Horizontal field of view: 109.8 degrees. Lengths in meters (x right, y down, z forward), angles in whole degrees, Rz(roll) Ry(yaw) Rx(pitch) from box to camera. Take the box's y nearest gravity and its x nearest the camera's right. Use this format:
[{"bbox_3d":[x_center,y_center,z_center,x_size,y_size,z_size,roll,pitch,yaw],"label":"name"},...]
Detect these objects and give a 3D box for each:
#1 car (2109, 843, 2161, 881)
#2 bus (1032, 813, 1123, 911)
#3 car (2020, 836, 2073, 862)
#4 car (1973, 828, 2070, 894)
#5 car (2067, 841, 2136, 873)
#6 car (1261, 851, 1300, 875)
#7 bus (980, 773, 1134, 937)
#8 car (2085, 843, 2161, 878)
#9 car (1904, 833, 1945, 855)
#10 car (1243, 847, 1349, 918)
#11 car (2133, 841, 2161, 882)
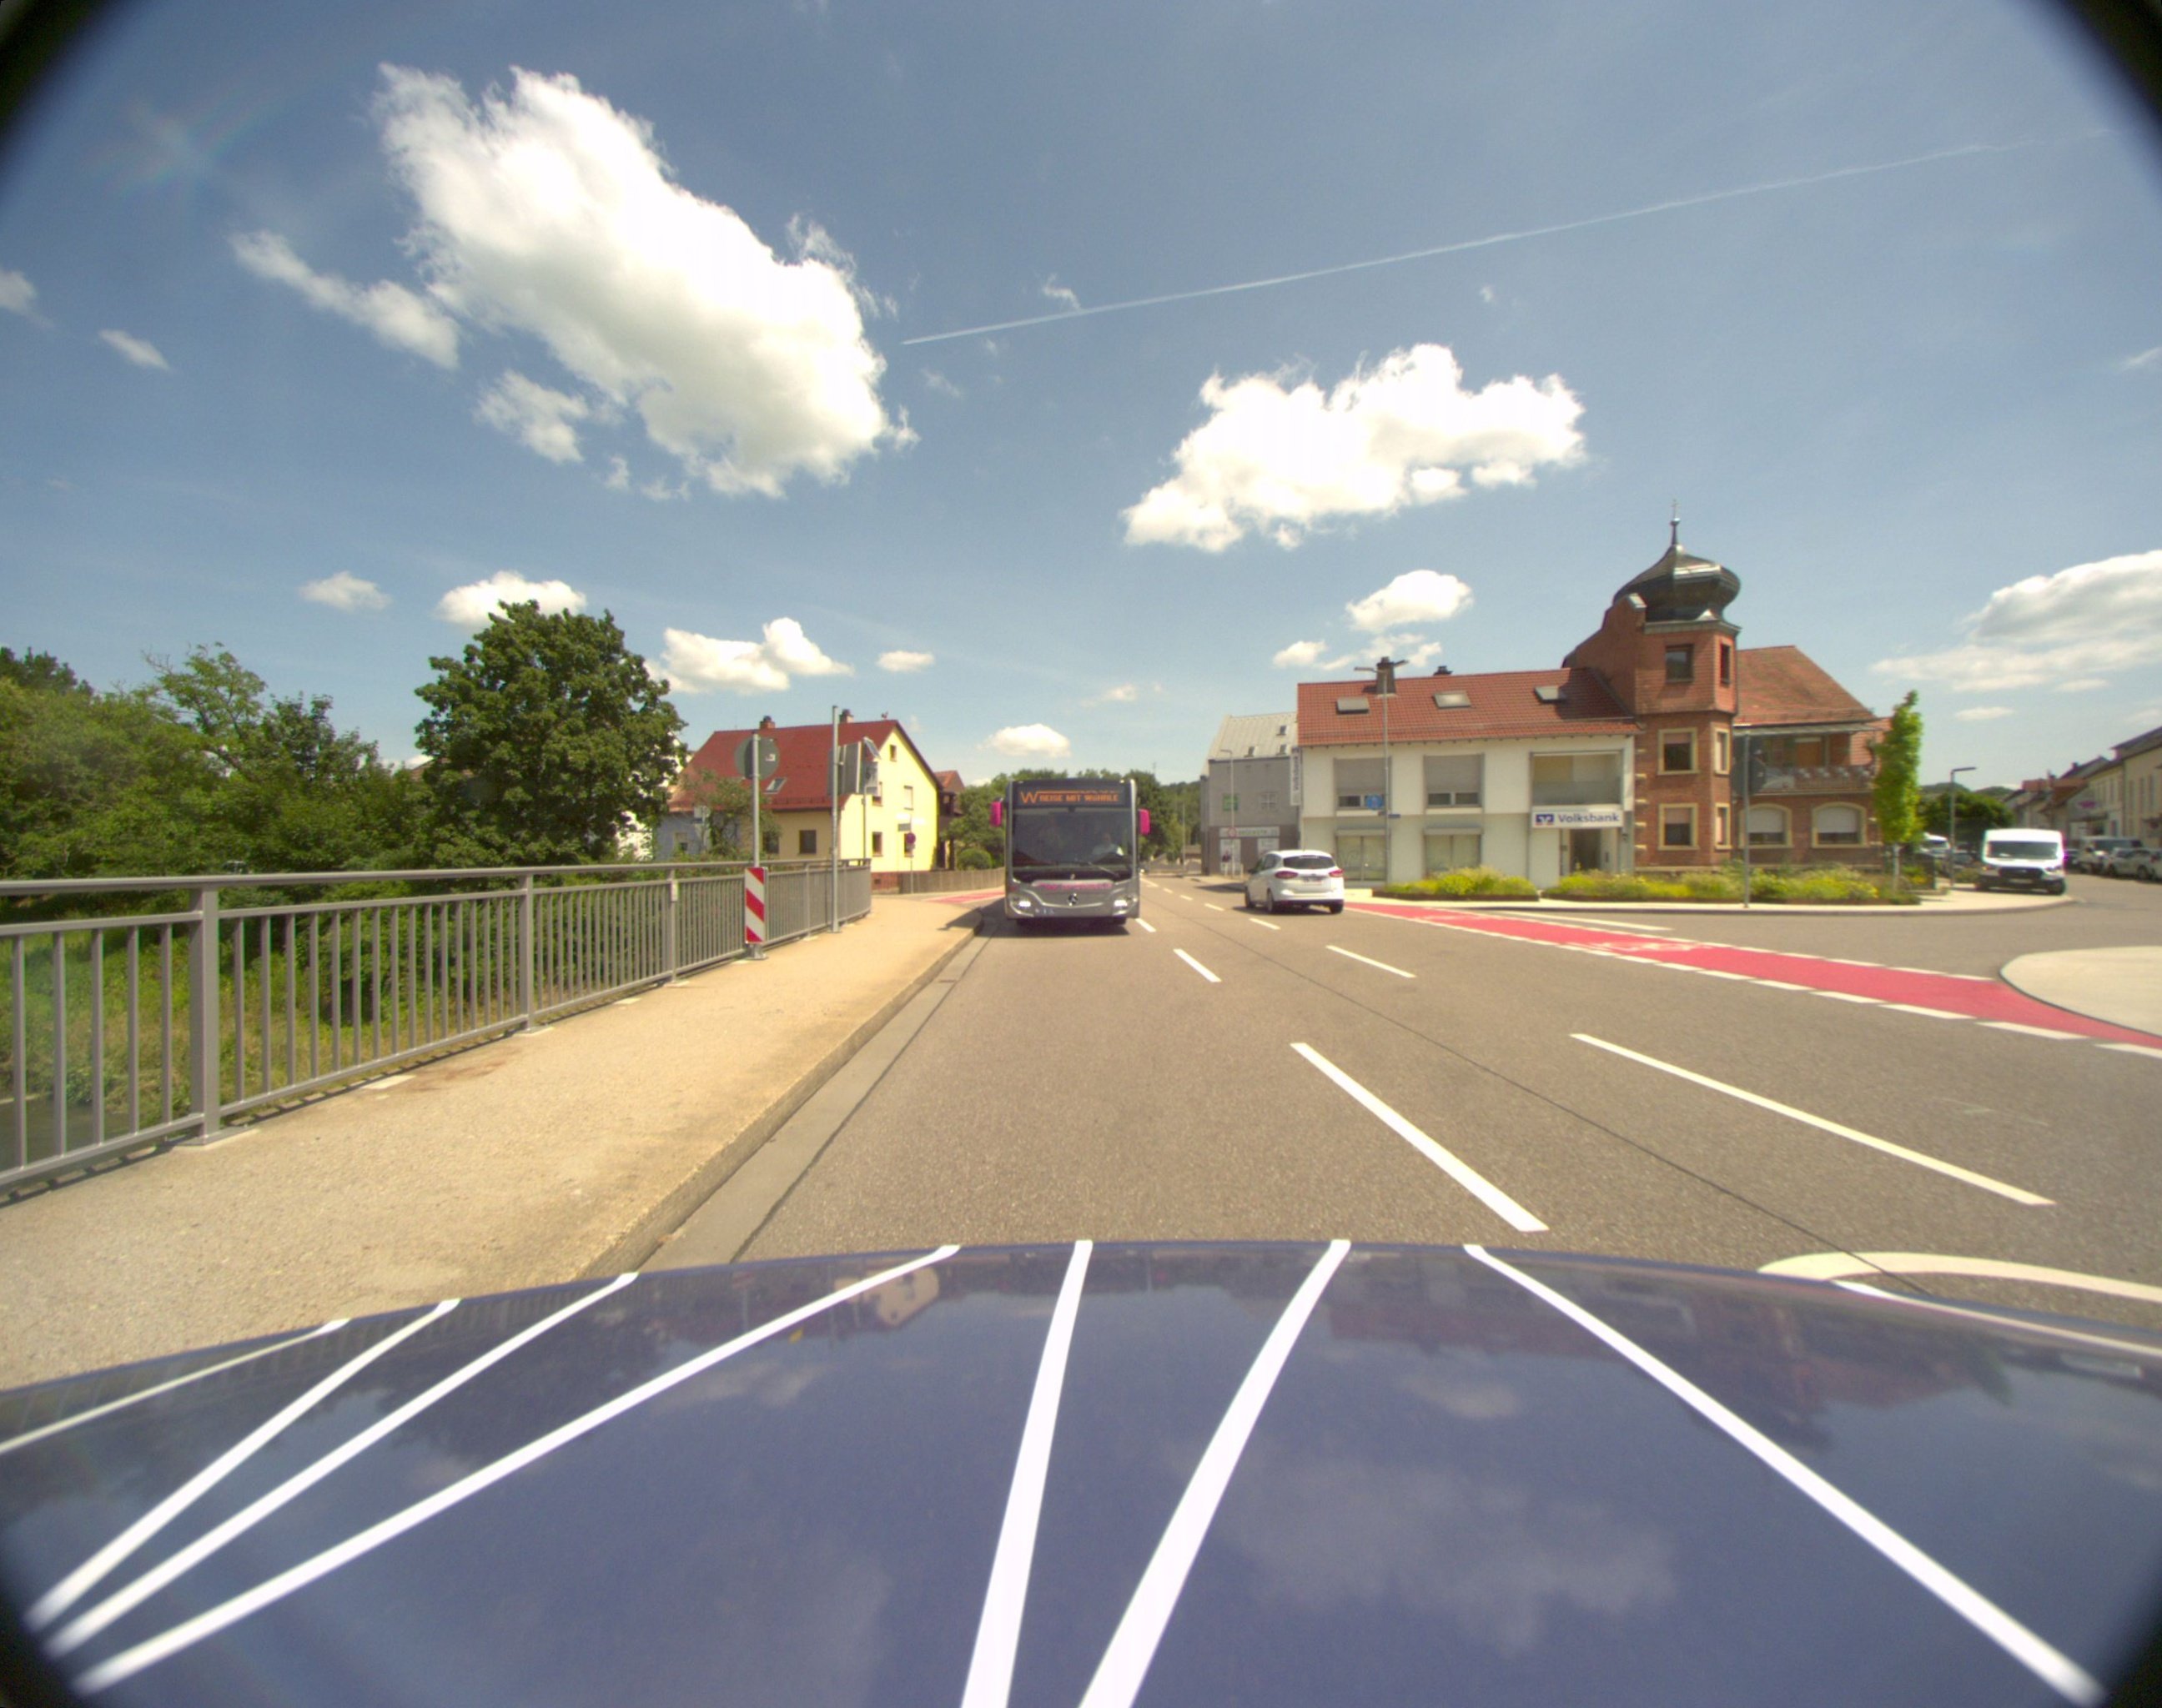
[{"bbox_3d":[55.040,0.383,39.085,1.862,1.839,4.008,2,2,44],"label":"car"},{"bbox_3d":[0.002,0.371,27.807,2.755,2.949,9.284,1,-1,1],"label":"bus"},{"bbox_3d":[71.464,-0.372,56.278,1.862,1.839,4.008,2,2,44],"label":"car"},{"bbox_3d":[36.277,0.214,29.369,5.122,2.332,2.167,0,1,-39],"label":"car"},{"bbox_3d":[62.081,0.139,46.294,1.862,1.839,4.008,2,2,44],"label":"car"},{"bbox_3d":[13.454,0.595,51.158,1.995,1.565,4.260,0,0,22],"label":"car"},{"bbox_3d":[-0.276,0.135,18.445,2.755,2.949,9.284,1,-1,2],"label":"bus"},{"bbox_3d":[58.537,0.324,42.725,1.862,1.839,4.008,2,2,44],"label":"car"},{"bbox_3d":[76.948,-0.925,69.363,1.994,2.002,4.008,1,1,42],"label":"car"},{"bbox_3d":[5.551,0.667,20.138,1.819,1.640,4.000,-2,1,3],"label":"car"},{"bbox_3d":[51.386,0.358,35.495,1.918,1.867,4.008,2,2,45],"label":"car"}]
